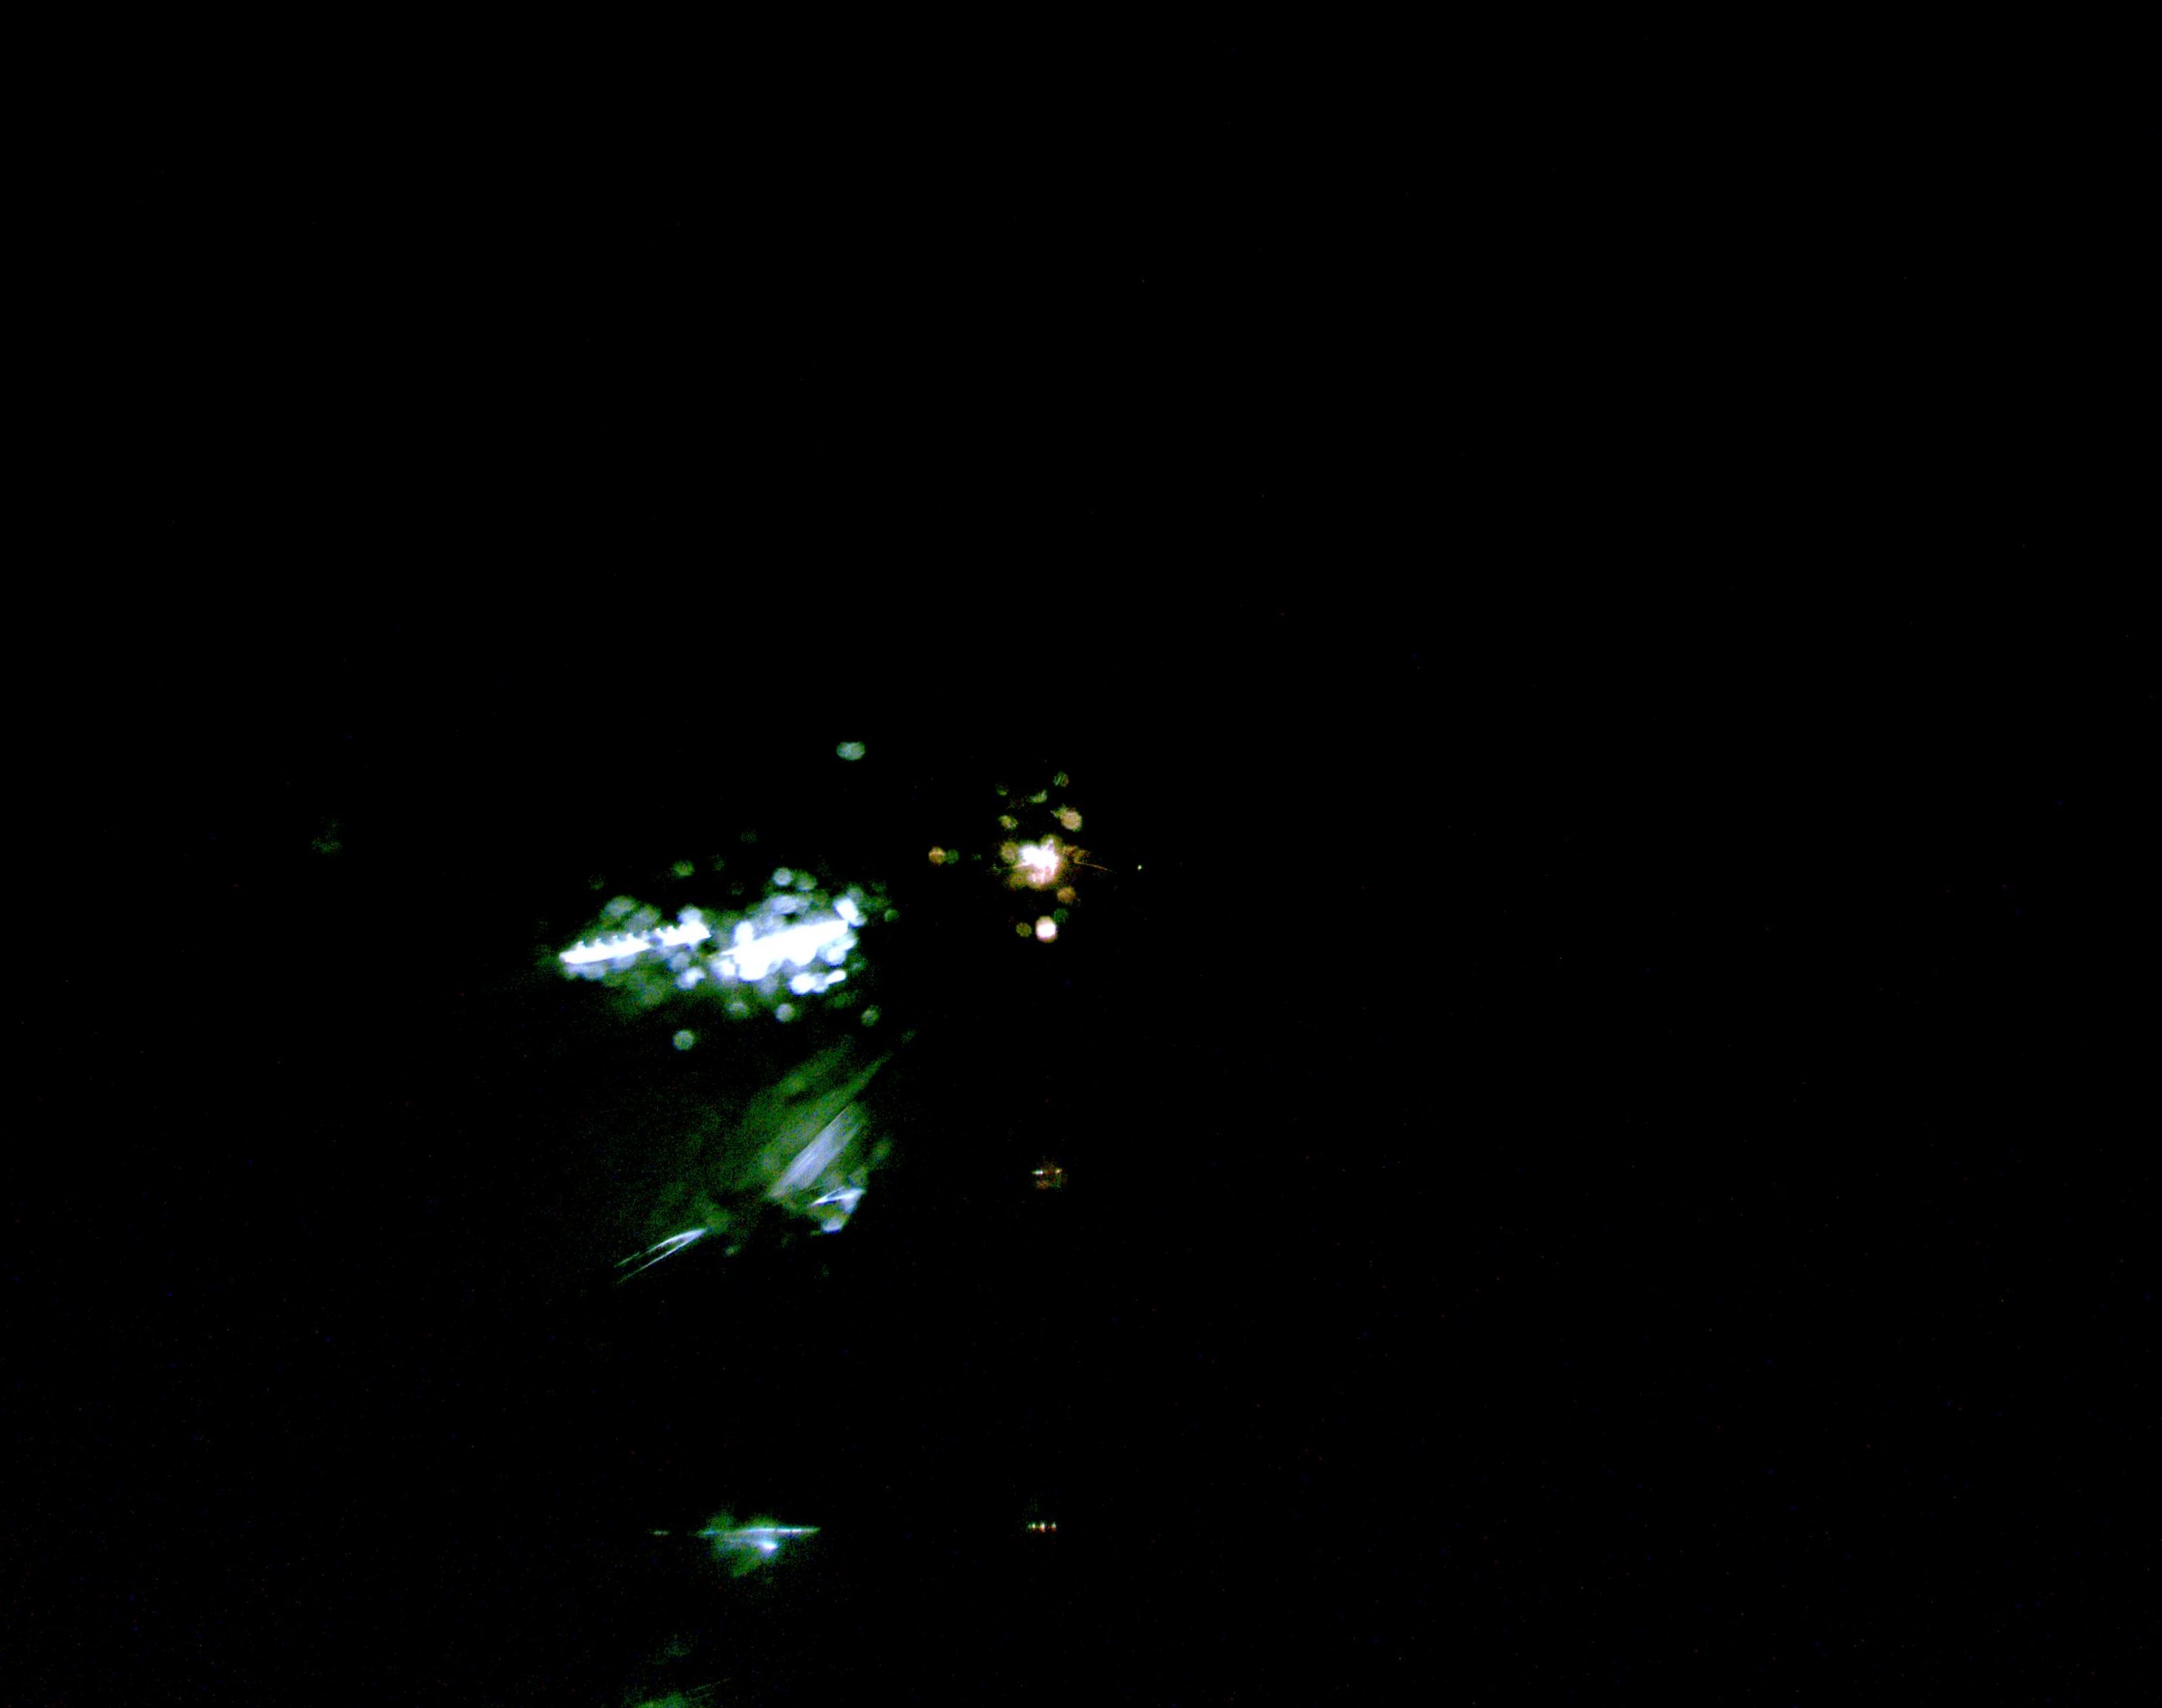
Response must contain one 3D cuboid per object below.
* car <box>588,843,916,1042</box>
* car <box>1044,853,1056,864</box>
[{"bbox_3d":[-3.062,0.733,8.551,1.811,1.555,3.871,-2,0,0],"label":"car"},{"bbox_3d":[-4.652,0.647,122.712,1.767,1.675,4.051,0,0,-2],"label":"car"}]
